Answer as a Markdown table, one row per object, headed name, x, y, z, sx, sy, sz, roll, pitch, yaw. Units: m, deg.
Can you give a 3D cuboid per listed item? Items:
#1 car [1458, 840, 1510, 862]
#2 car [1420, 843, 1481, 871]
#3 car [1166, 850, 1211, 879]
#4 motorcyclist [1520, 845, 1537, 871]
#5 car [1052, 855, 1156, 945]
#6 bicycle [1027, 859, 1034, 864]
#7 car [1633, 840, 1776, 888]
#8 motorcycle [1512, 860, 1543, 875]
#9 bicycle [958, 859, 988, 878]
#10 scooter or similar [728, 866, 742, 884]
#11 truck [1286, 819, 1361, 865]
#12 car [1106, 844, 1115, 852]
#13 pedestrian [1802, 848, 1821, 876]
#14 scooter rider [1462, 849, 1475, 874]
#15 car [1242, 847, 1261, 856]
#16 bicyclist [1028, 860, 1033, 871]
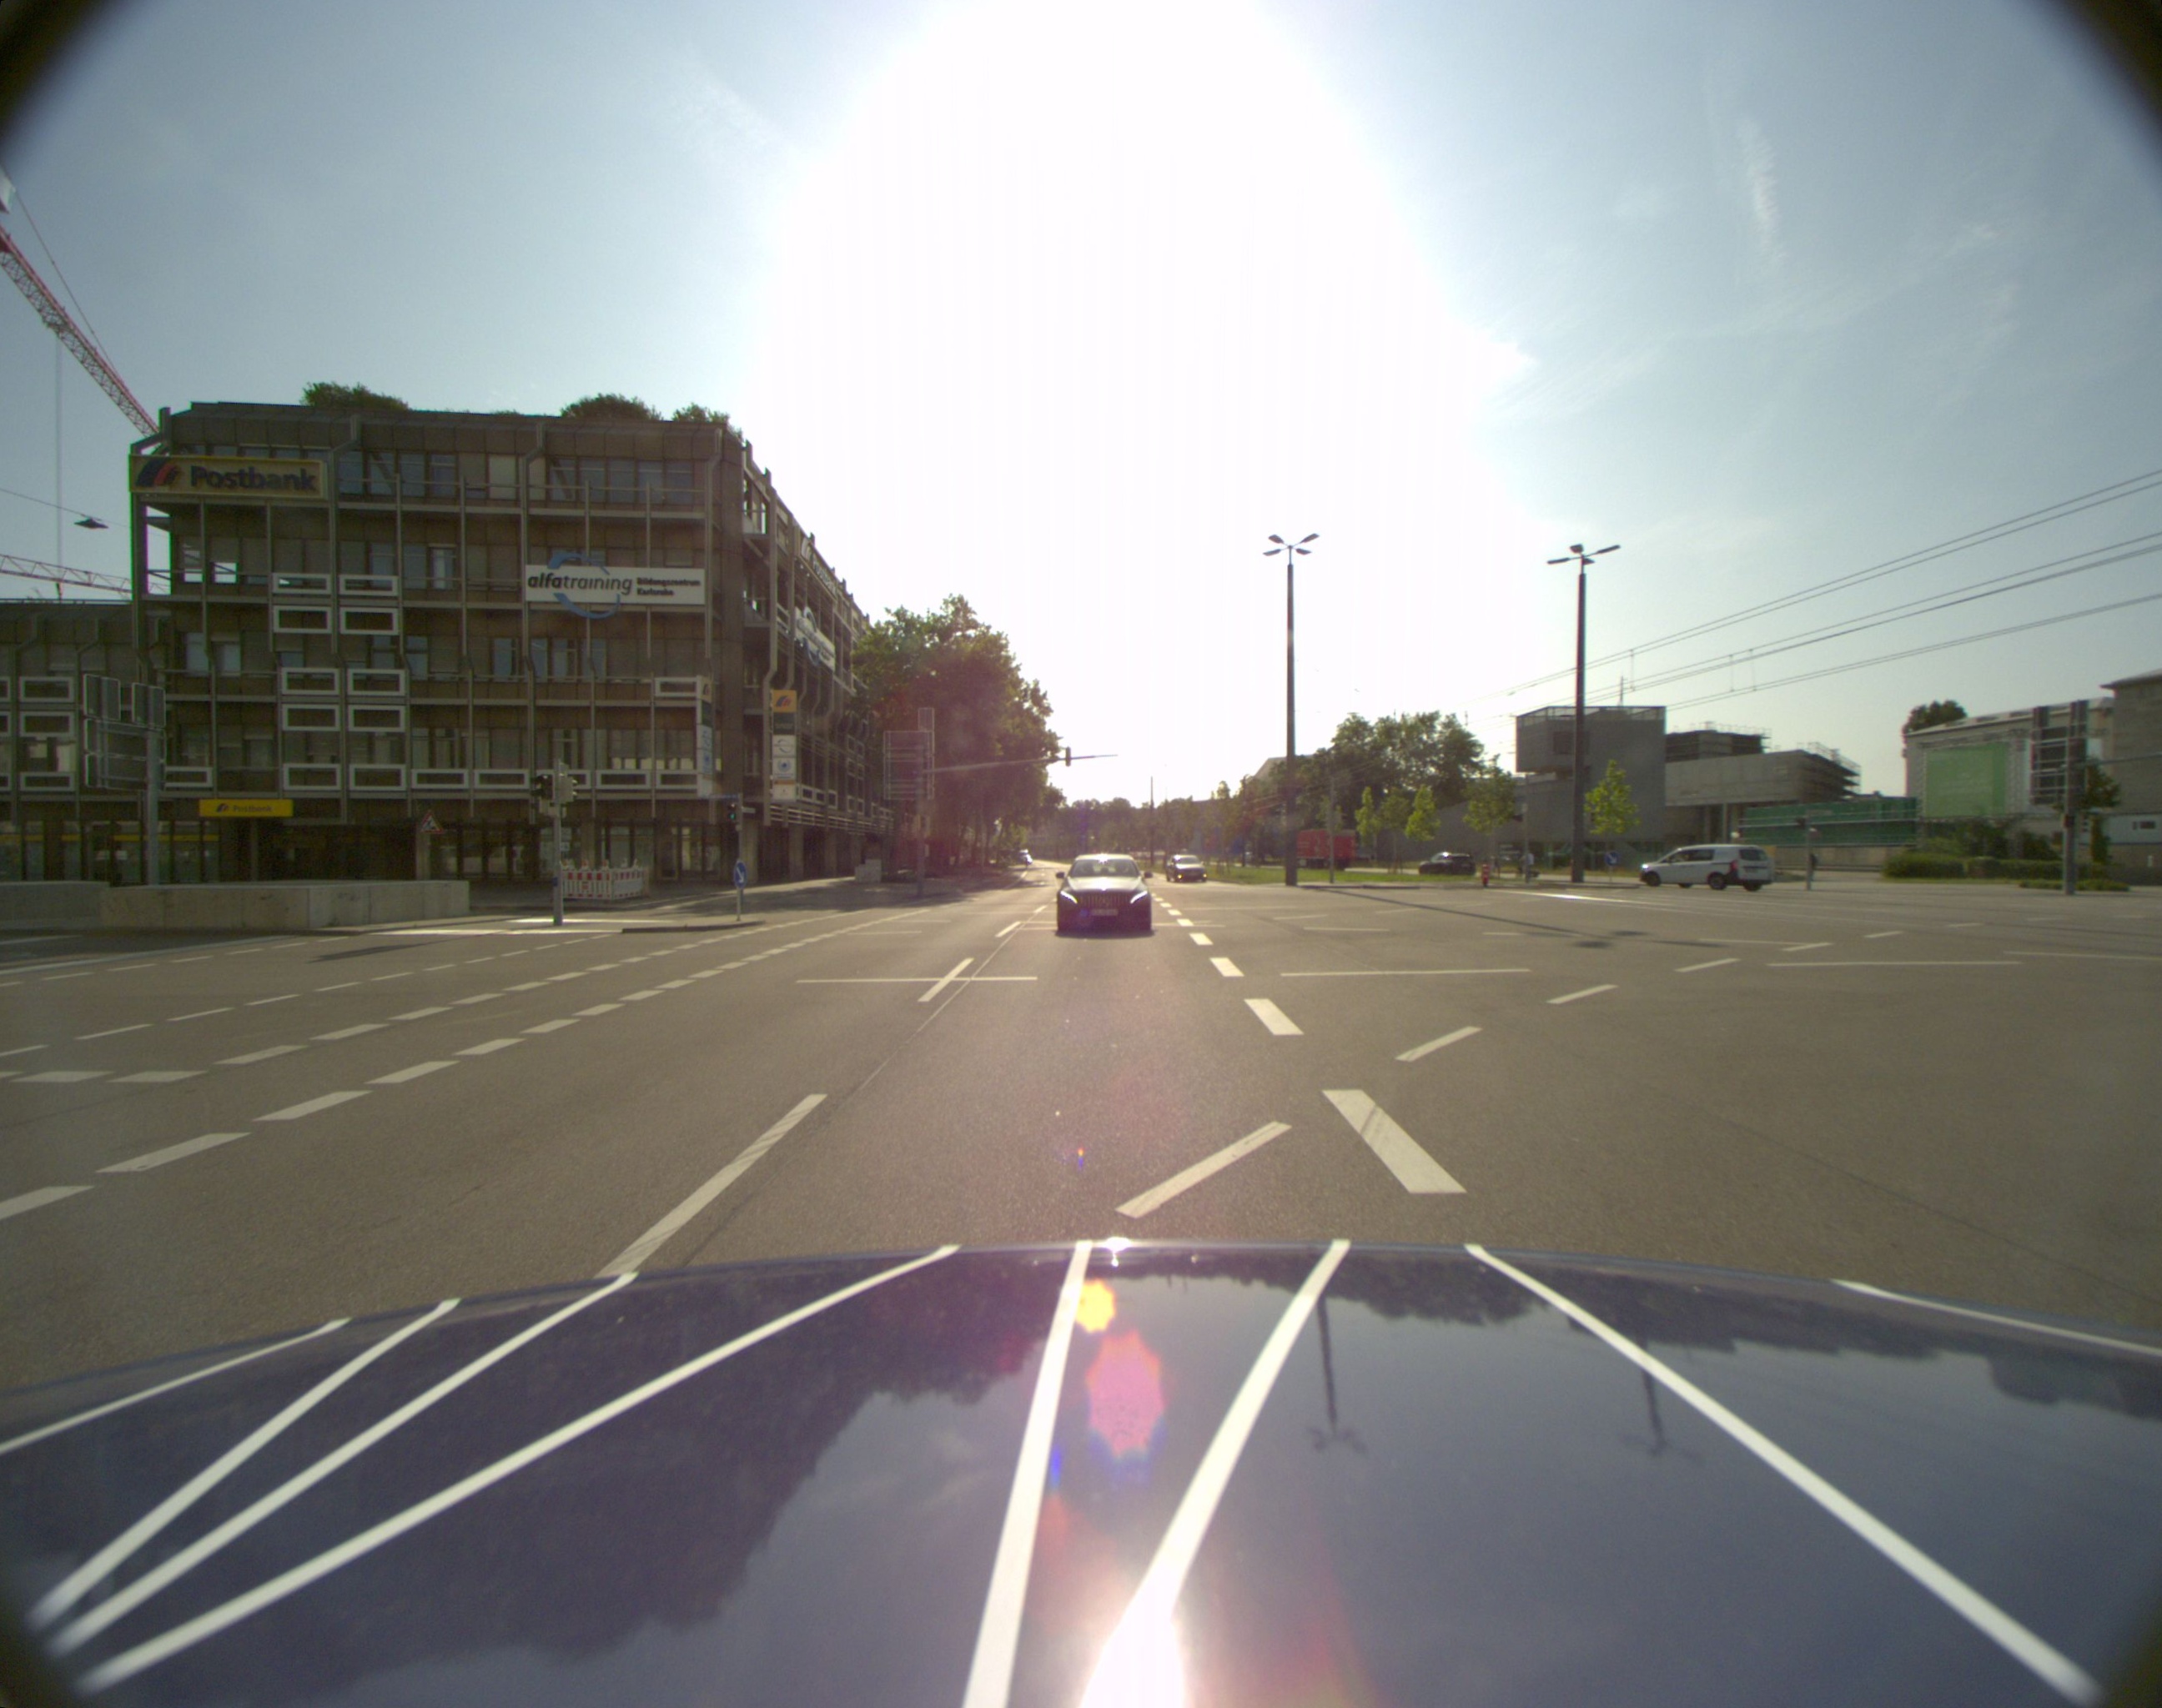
| name | x | y | z | sx | sy | sz | roll | pitch | yaw |
| --- | --- | --- | --- | --- | --- | --- | --- | --- | --- |
| car | 30.575 | -0.258 | 57.795 | 1.644 | 1.592 | 3.998 | -2 | 1 | -3 |
| car | 23.031 | 0.161 | 47.491 | 1.644 | 1.592 | 3.998 | -2 | 1 | -3 |
| car | 5.773 | 0.541 | 41.137 | 1.709 | 1.424 | 3.868 | -3 | 0 | -2 |
| motorcyclist | 26.486 | 0.207 | 44.996 | 0.392 | 1.519 | 0.860 | 0 | 1 | -10 |
| car | 0.365 | 0.774 | 15.206 | 1.716 | 1.429 | 5.056 | -1 | 1 | -1 |
| bicycle | -6.919 | 1.039 | 104.538 | 0.630 | 0.702 | 1.807 | -1 | 0 | -12 |
| car | 25.239 | 0.366 | 30.990 | 1.621 | 1.778 | 4.513 | -1 | 0 | -12 |
| motorcycle | 26.473 | 0.779 | 45.082 | 0.521 | 0.828 | 1.821 | 0 | 0 | -10 |
| bicycle | -6.952 | 0.954 | 48.824 | 1.831 | 1.181 | 0.537 | 1 | 1 | 2 |
| scooter or similar | -16.837 | 1.012 | 37.024 | 0.279 | 0.838 | 0.959 | 0 | 1 | -3 |
| truck | 21.655 | -1.042 | 68.662 | 2.980 | 3.787 | 10.419 | 0 | 0 | -3 |
| car | 7.667 | -1.512 | 199.105 | 1.999 | 2.002 | 3.998 | -2 | 1 | -3 |
| pedestrian | 43.960 | 0.482 | 45.738 | 0.607 | 1.687 | 0.538 | 0 | 1 | 1 |
| scooter rider | 25.780 | 0.501 | 50.578 | 0.539 | 1.688 | 0.549 | -1 | 1 | -8 |
| car | 35.272 | -0.516 | 157.549 | 2.020 | 1.758 | 4.818 | 0 | 0 | -11 |
| bicyclist | -6.939 | 1.595 | 104.690 | 0.612 | 1.505 | 0.813 | -1 | 1 | -13 |
